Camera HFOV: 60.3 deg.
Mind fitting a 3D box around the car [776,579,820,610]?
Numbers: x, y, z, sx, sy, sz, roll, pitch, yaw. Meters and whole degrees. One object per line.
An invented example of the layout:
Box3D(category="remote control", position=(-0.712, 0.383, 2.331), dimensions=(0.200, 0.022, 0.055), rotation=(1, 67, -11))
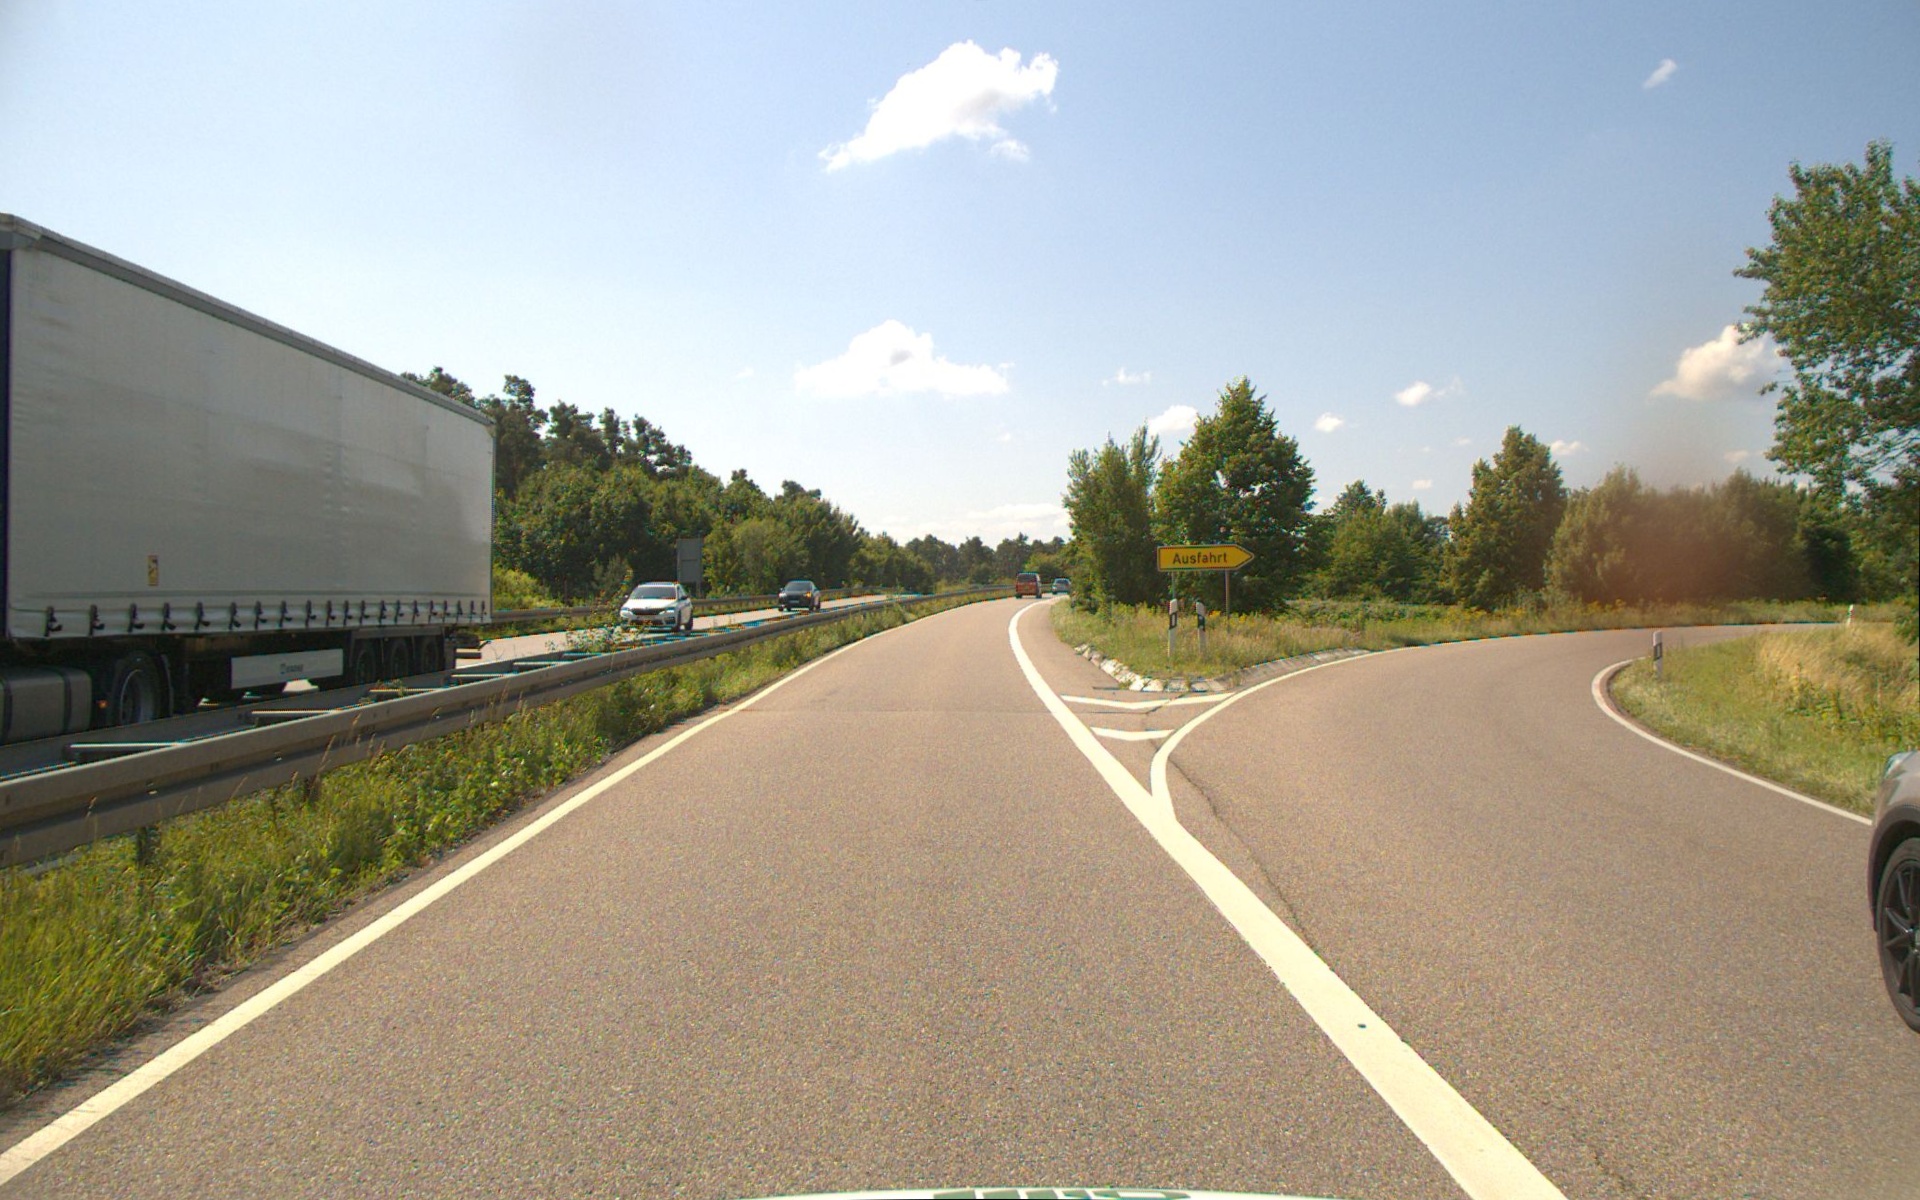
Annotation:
Box3D(category="car", position=(-8.324, -0.299, 85.329), dimensions=(1.719, 1.527, 4.574), rotation=(0, 1, 1))

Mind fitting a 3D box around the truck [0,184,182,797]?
Box3D(category="truck", position=(-8.023, -0.761, 11.445), dimensions=(2.711, 4.260, 5.597), rotation=(0, 0, -1))

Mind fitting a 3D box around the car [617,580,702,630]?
Box3D(category="car", position=(-9.269, 0.112, 51.337), dimensions=(1.757, 1.469, 4.607), rotation=(0, 1, 1))

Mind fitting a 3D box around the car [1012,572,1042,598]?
Box3D(category="car", position=(5.387, -1.199, 132.141), dimensions=(2.033, 2.028, 5.115), rotation=(0, 0, 7))

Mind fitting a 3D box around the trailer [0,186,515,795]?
Box3D(category="trailer", position=(-8.167, -0.811, 18.489), dimensions=(2.690, 4.245, 14.580), rotation=(0, 0, -1))

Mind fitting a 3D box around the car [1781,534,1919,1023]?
Box3D(category="car", position=(4.164, 0.639, 4.483), dimensions=(1.854, 1.695, 4.668), rotation=(0, 1, 4))

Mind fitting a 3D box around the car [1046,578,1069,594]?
Box3D(category="car", position=(9.310, -1.327, 157.687), dimensions=(1.965, 1.520, 4.241), rotation=(0, 0, 6))
